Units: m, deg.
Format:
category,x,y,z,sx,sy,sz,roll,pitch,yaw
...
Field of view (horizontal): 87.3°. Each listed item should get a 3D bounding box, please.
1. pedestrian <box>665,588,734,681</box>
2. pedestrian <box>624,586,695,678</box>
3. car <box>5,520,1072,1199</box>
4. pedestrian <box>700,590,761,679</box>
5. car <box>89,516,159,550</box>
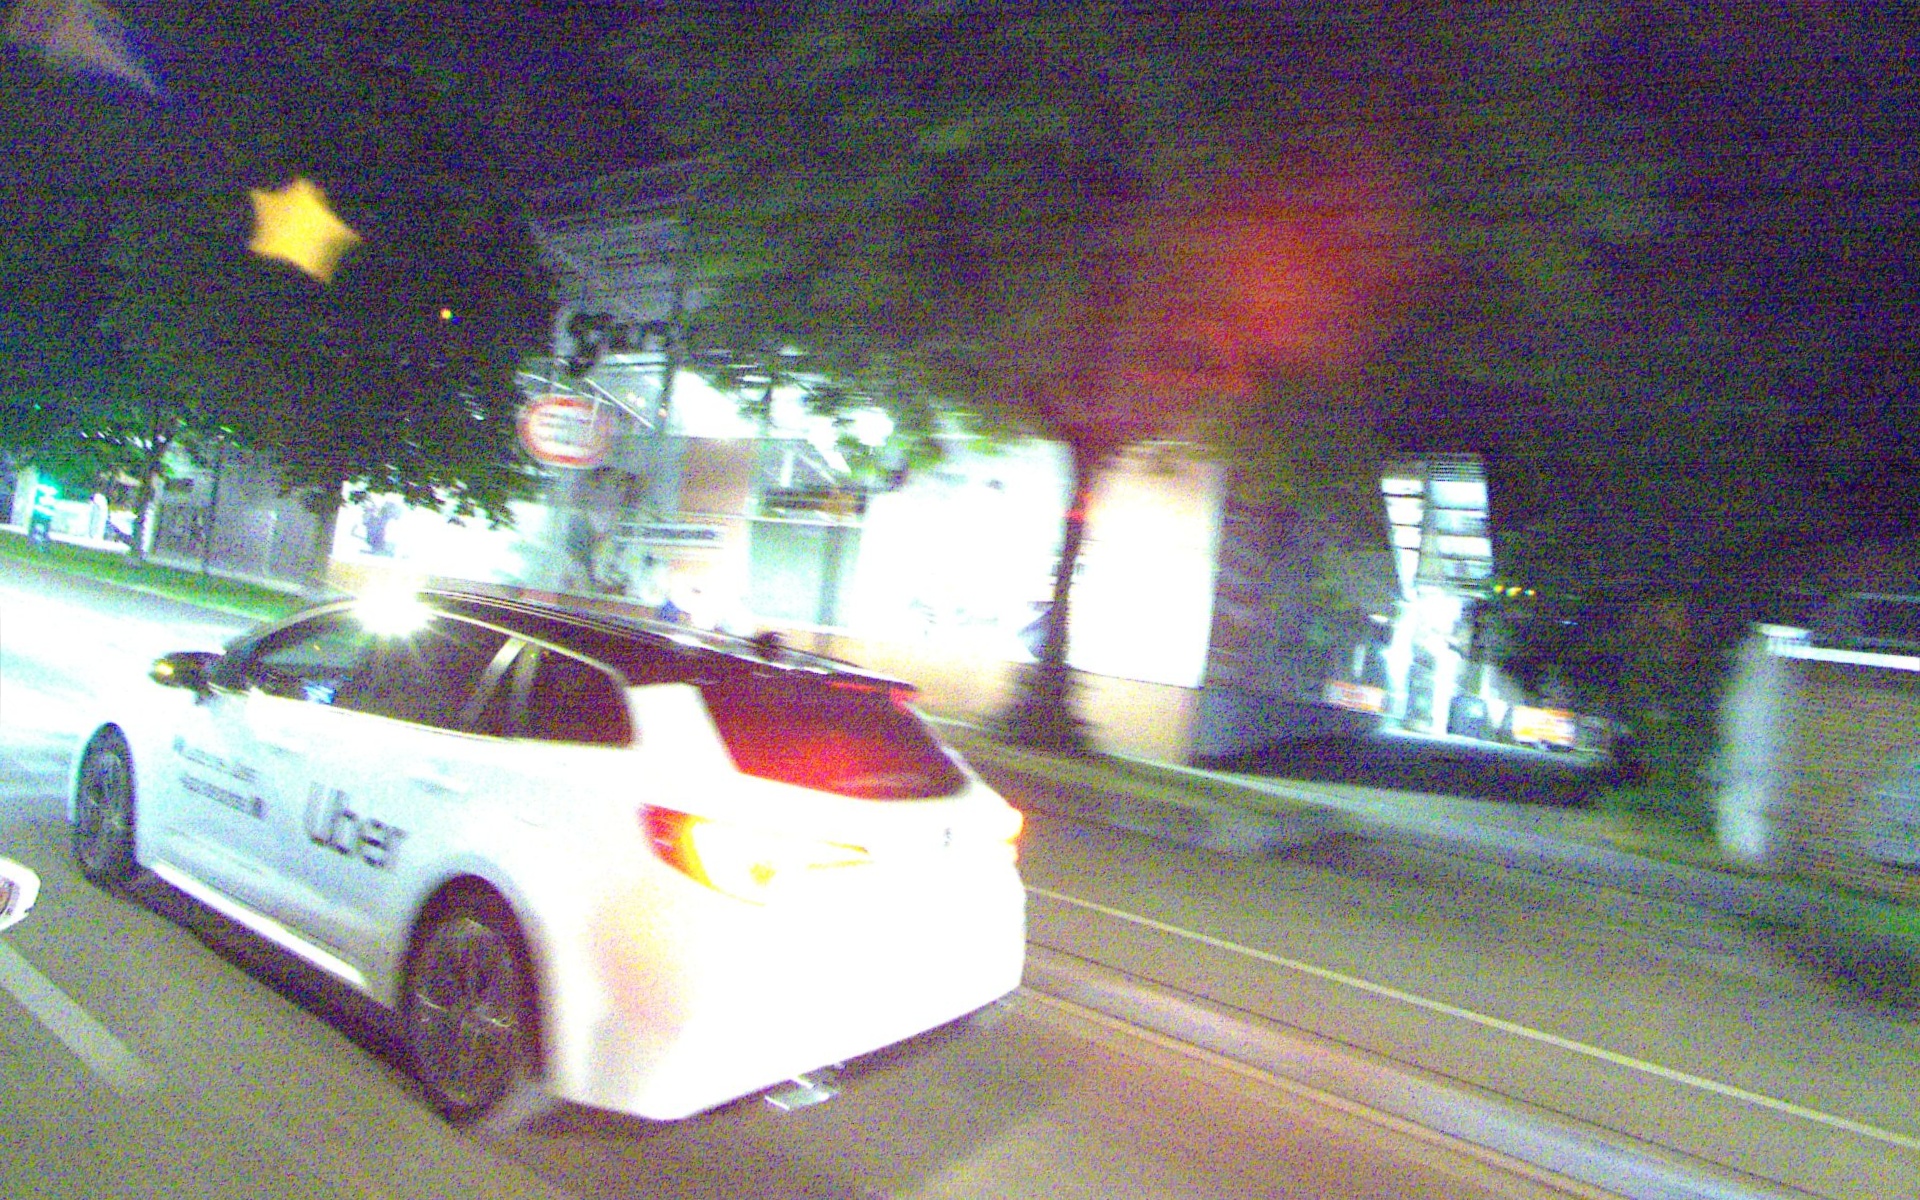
category,x,y,z,sx,sy,sz,roll,pitch,yaw
pedestrian,-5.464,0.725,21.090,0.954,1.809,0.720,7,-1,33
pedestrian,-6.150,0.658,20.618,0.969,1.737,0.736,7,-1,33
car,-1.984,0.680,4.168,4.425,1.445,1.729,7,-3,33
pedestrian,-5.106,0.764,22.372,0.891,1.838,0.675,7,-1,33
car,-40.037,-3.215,48.167,3.481,1.181,1.461,6,-3,32
